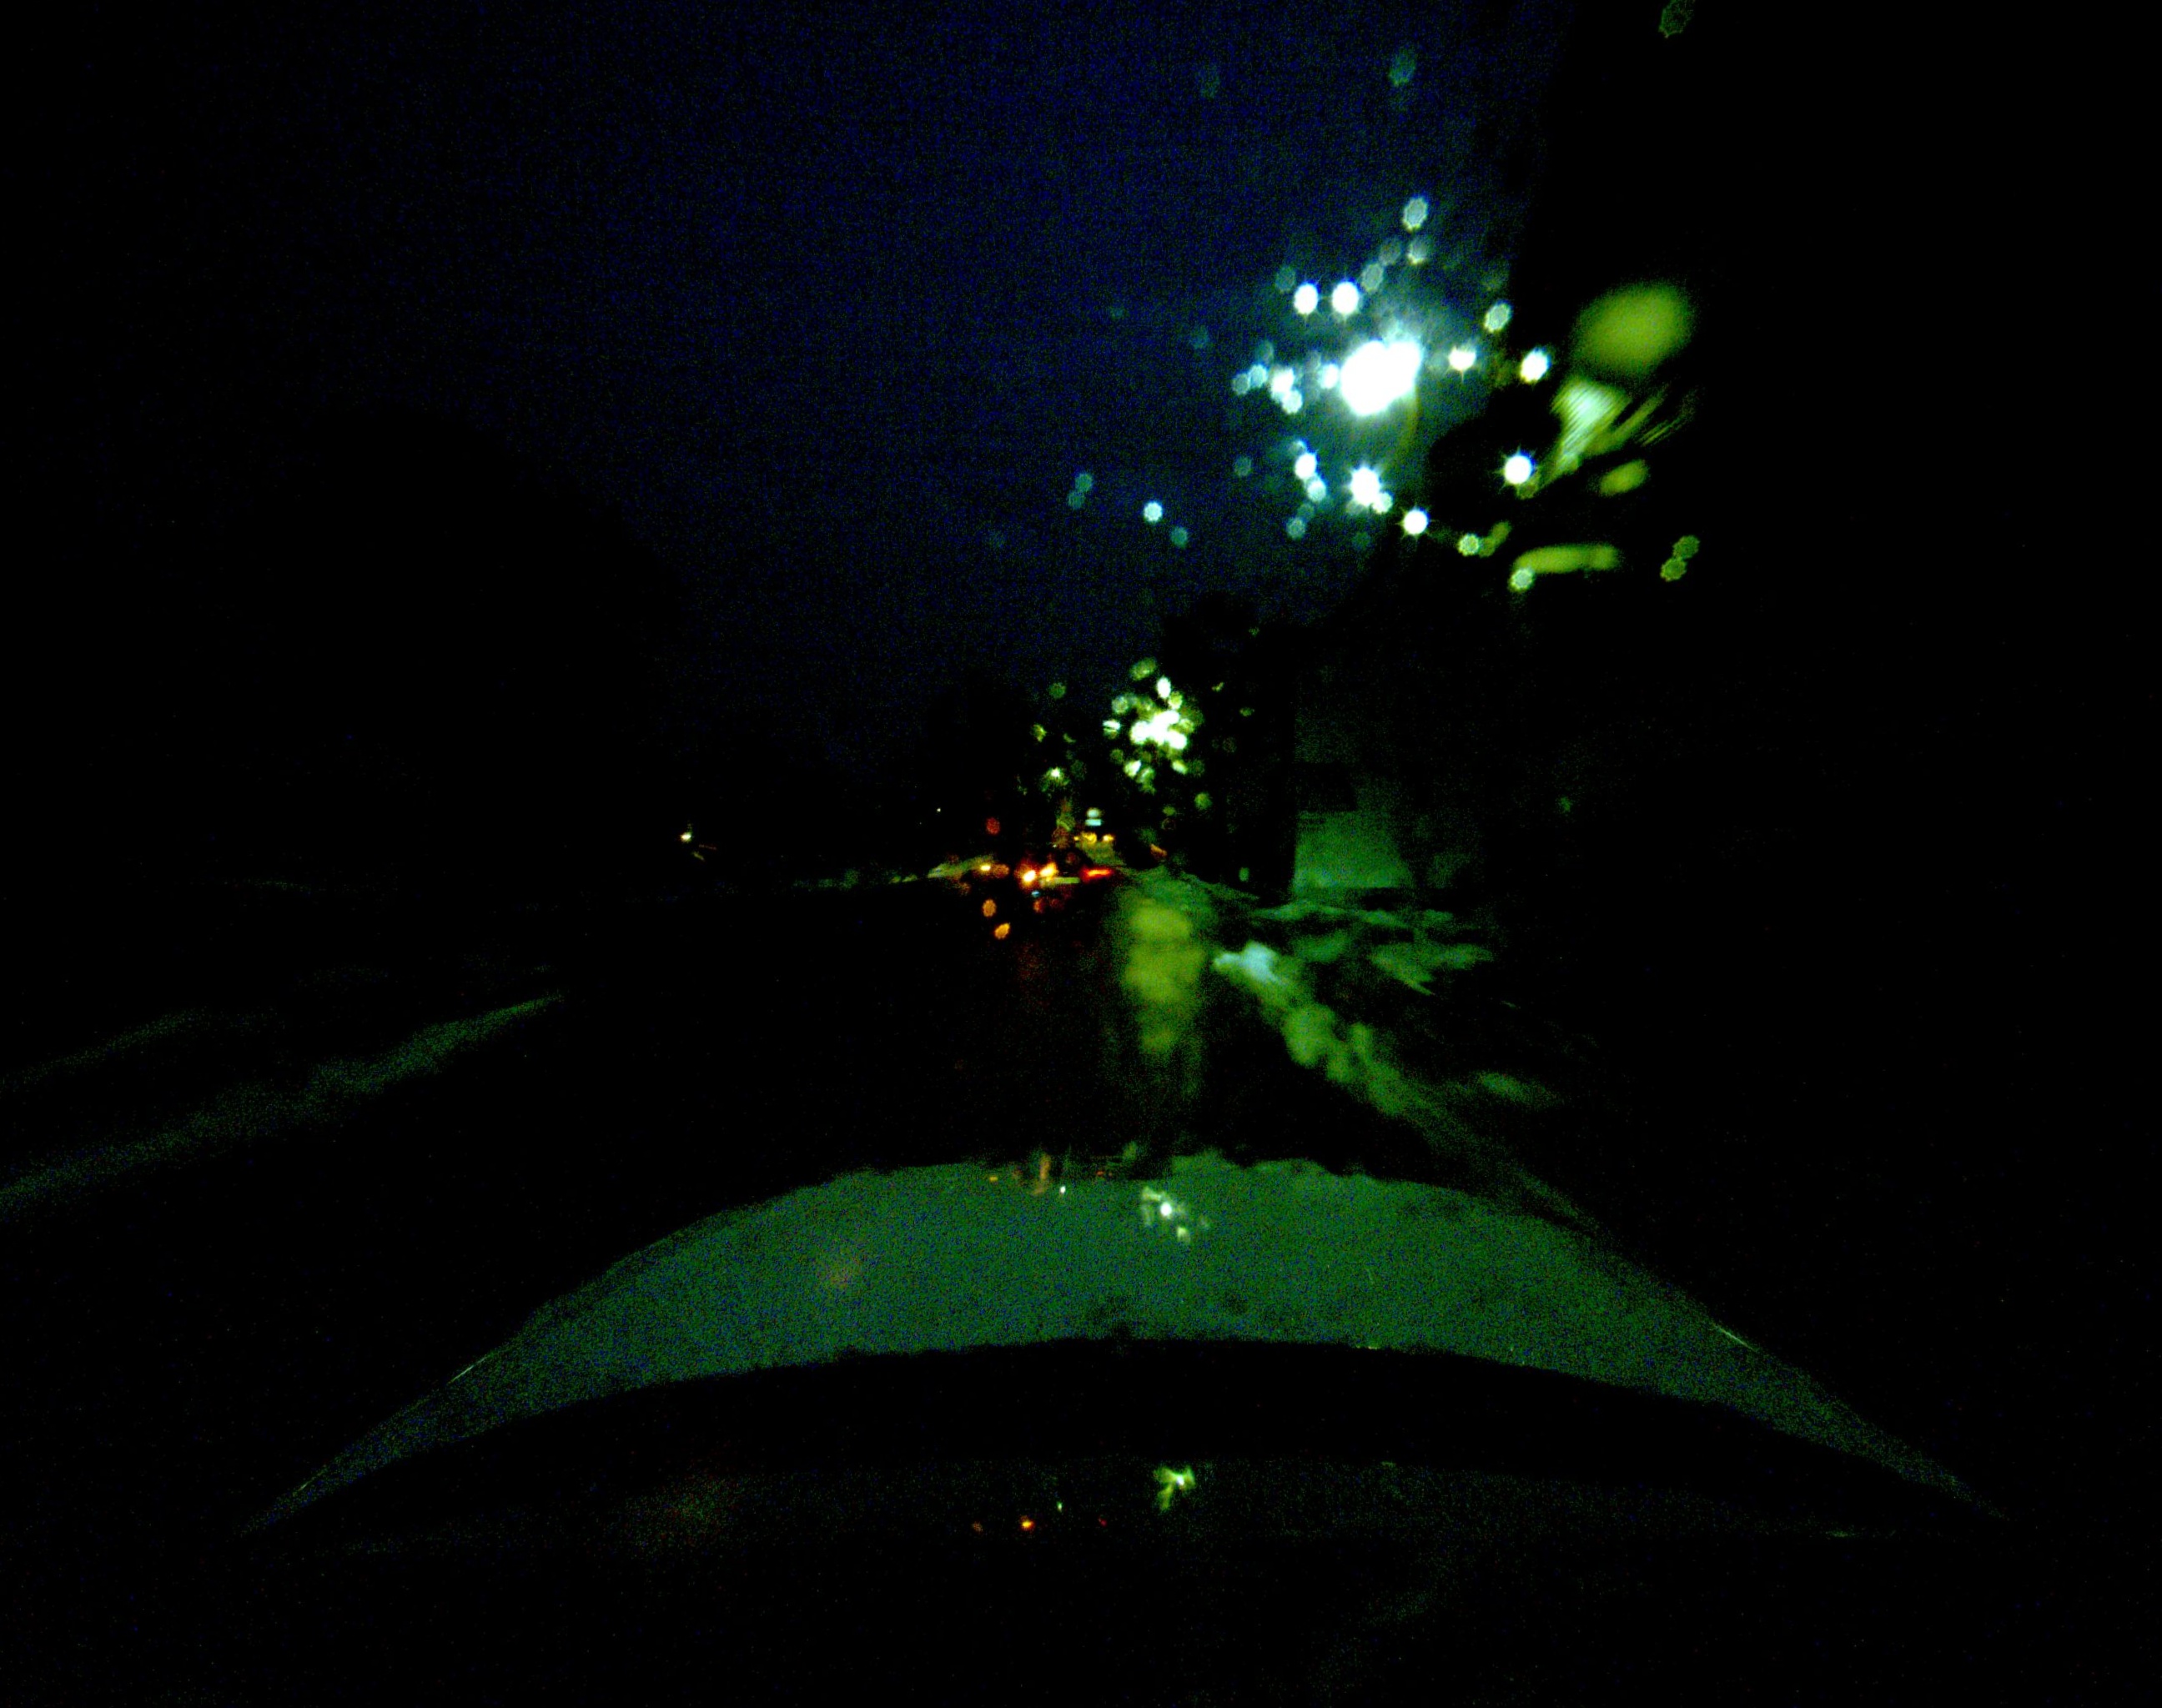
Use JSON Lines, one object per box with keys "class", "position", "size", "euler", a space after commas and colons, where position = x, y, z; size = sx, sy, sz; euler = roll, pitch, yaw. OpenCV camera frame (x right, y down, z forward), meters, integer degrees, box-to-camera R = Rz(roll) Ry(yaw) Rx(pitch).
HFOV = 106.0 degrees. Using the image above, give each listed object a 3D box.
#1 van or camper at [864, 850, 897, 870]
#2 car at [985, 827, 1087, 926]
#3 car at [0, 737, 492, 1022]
{"class": "van or camper", "position": [-11.938, 0.360, 48.378], "size": [1.289, 1.101, 3.246], "euler": [1, -2, -24]}
{"class": "car", "position": [-1.049, 0.416, 17.047], "size": [1.821, 1.796, 3.568], "euler": [-2, 0, -8]}
{"class": "car", "position": [-9.931, 0.242, 8.286], "size": [6.132, 2.553, 1.981], "euler": [0, -1, -29]}
